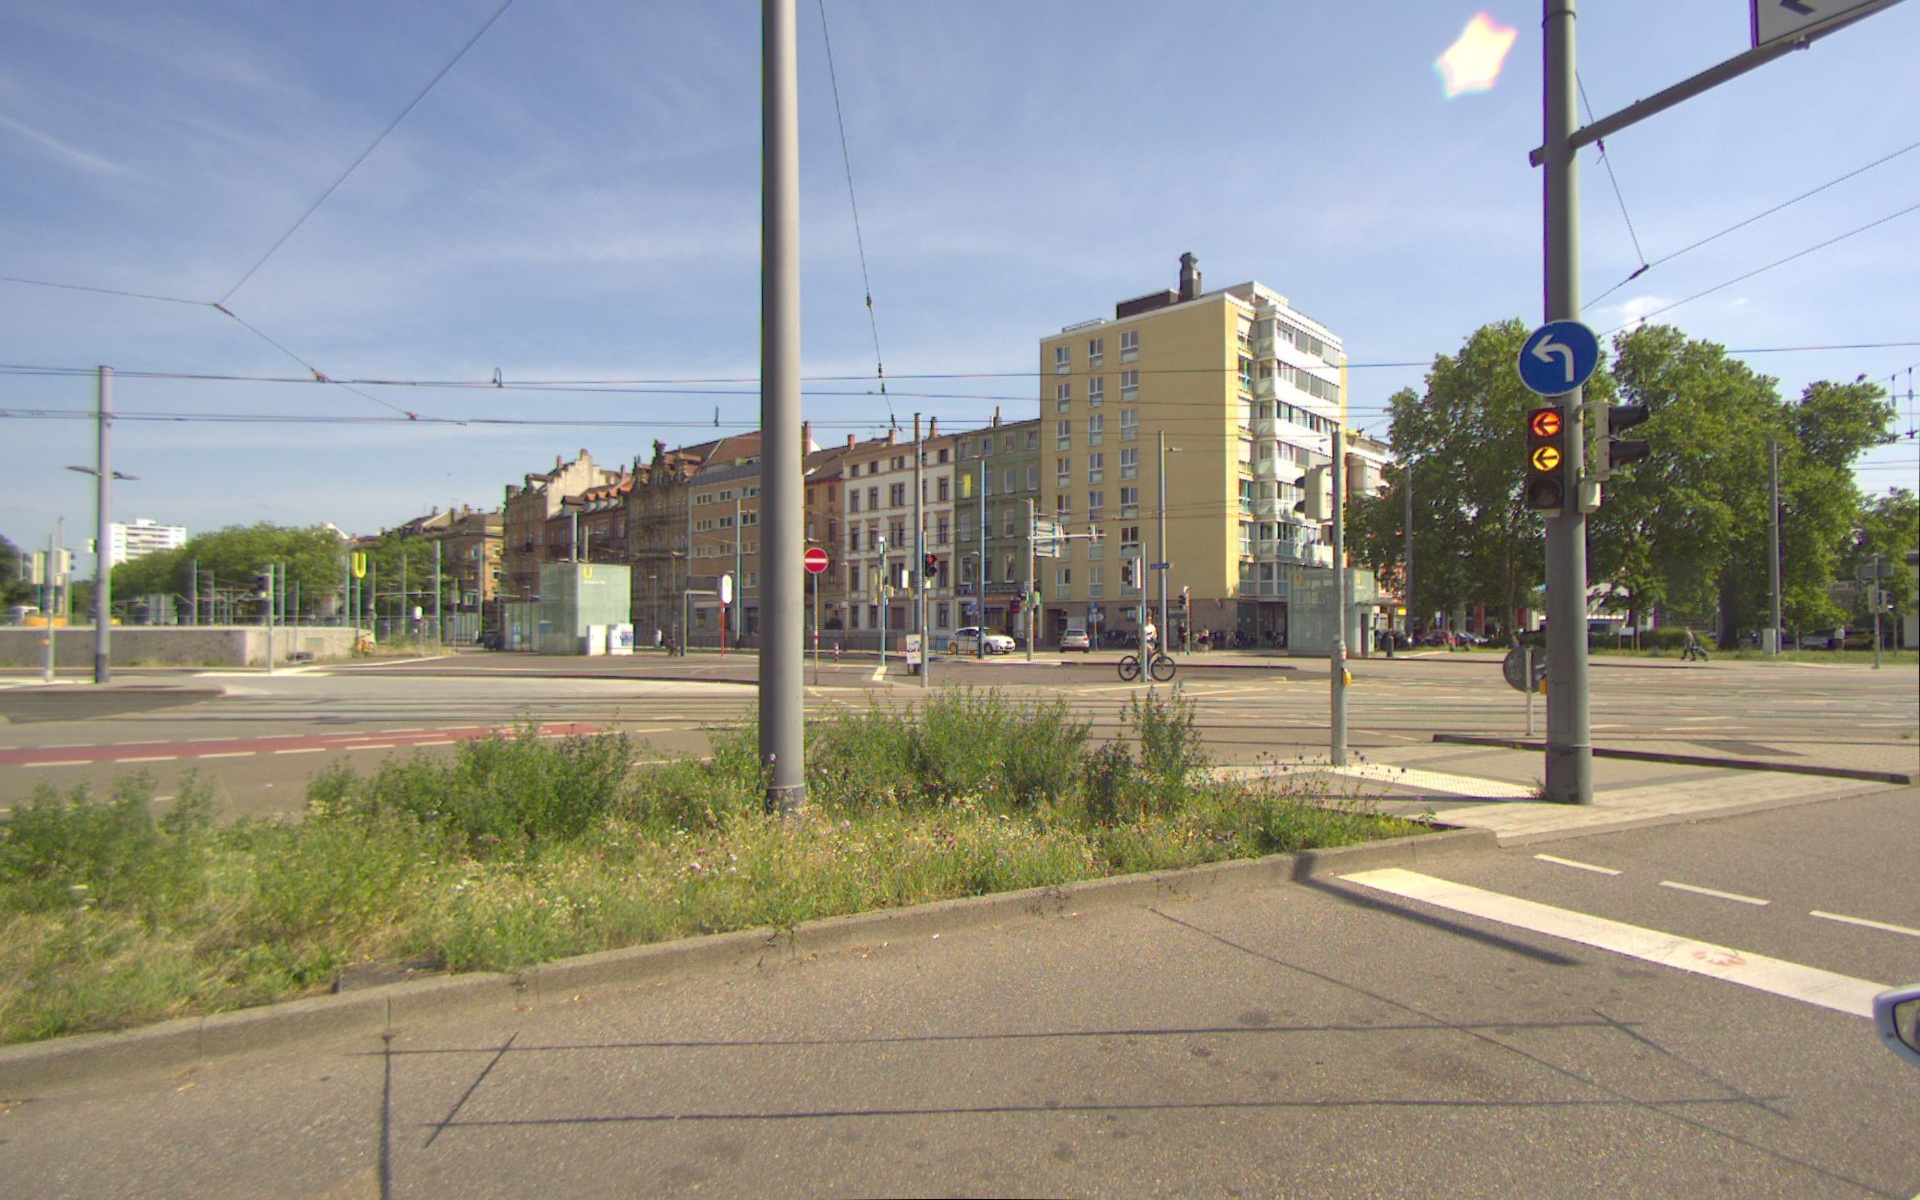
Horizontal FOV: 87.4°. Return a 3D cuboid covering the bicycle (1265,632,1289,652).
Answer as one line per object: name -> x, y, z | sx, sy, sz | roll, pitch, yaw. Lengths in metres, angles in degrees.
bicycle -> 20.453, 2.719, 64.854 | 1.740, 1.235, 0.578 | 0, -1, -37

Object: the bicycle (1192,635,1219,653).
bicycle -> 15.863, 2.853, 64.978 | 0.578, 1.100, 1.740 | -3, 0, -34

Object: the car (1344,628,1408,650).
car -> 30.507, 2.831, 73.669 | 3.945, 1.459, 1.879 | 2, 0, 44

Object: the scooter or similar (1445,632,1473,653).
scooter or similar -> 27.083, 2.312, 54.524 | 0.509, 1.134, 1.358 | 0, -1, -19

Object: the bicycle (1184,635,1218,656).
bicycle -> 12.977, 2.437, 54.017 | 1.775, 1.145, 0.749 | 1, -2, -30

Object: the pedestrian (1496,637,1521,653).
pedestrian -> 32.290, 2.648, 59.105 | 1.159, 0.904, 0.818 | -1, -2, 41

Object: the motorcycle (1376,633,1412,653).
motorcycle -> 24.779, 2.453, 57.378 | 0.631, 1.076, 2.028 | 1, -2, -22

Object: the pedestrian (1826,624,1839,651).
pedestrian -> 52.528, 2.238, 60.471 | 0.455, 1.617, 0.393 | 2, 0, -6

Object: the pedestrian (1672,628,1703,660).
pedestrian -> 33.678, 2.048, 46.503 | 1.100, 1.422, 0.654 | 2, 0, 39

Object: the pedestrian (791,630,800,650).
pedestrian -> -13.692, 3.308, 83.700 | 0.518, 1.687, 0.551 | -2, -2, 43

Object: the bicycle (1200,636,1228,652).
bicycle -> 16.490, 2.861, 65.203 | 0.579, 1.056, 1.737 | 0, -2, -40

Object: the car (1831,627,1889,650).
car -> 71.642, 3.093, 79.956 | 3.946, 1.706, 1.988 | 2, 0, -25

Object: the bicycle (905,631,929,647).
bicycle -> -3.043, 2.749, 71.241 | 0.589, 1.109, 1.738 | 0, -2, 43

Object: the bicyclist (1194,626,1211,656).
bicyclist -> 13.046, 2.228, 54.045 | 0.605, 1.593, 0.728 | 1, -3, -29

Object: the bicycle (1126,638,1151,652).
bicycle -> 12.222, 3.046, 68.707 | 0.579, 0.928, 1.737 | 0, -2, -39

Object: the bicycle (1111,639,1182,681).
bicycle -> 5.035, 1.639, 27.270 | 0.745, 1.098, 1.828 | 2, -4, -40

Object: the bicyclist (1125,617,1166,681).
bicyclist -> 5.037, 1.324, 27.262 | 0.745, 1.706, 0.768 | 2, -4, -40

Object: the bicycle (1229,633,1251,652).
bicycle -> 18.348, 2.781, 65.762 | 0.534, 1.201, 1.878 | -1, -2, 45

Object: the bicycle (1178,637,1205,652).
bicycle -> 15.299, 2.939, 66.345 | 0.579, 0.978, 1.736 | 0, -2, -41

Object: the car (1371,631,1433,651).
car -> 33.757, 3.118, 76.774 | 3.945, 1.287, 1.733 | 1, 0, 44

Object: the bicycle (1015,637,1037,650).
bicycle -> 4.985, 3.290, 76.303 | 1.755, 0.977, 0.412 | -2, 0, 43

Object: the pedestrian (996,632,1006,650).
pedestrian -> 3.193, 3.173, 78.289 | 0.637, 1.392, 0.524 | -1, -2, 43

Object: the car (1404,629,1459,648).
car -> 38.894, 3.161, 82.877 | 3.684, 1.358, 1.733 | 2, 0, 44

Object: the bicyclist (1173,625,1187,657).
bicyclist -> 12.102, 2.255, 55.273 | 0.575, 1.757, 0.615 | -2, -3, 37

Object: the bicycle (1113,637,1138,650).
bicycle -> 11.530, 3.031, 70.037 | 1.733, 0.928, 0.580 | -2, -2, 44

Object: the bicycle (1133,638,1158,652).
bicycle -> 12.732, 3.063, 68.939 | 0.579, 0.928, 1.737 | 0, -2, -39

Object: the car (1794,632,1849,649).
car -> 70.167, 3.279, 81.815 | 3.946, 1.261, 1.988 | 2, 0, -25

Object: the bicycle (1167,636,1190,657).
bicycle -> 12.080, 2.569, 55.441 | 0.575, 1.145, 1.790 | -2, -3, 37

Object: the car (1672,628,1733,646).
car -> 66.622, 3.307, 90.185 | 1.976, 1.390, 3.968 | 2, 0, -30

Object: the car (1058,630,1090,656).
car -> 7.002, 2.658, 62.072 | 1.777, 1.458, 4.004 | 1, -4, 4

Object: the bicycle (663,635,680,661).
bicycle -> -13.183, 2.172, 45.899 | 0.408, 1.085, 1.651 | 0, 0, -28

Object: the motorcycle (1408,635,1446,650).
motorcycle -> 28.314, 2.582, 60.952 | 1.997, 0.853, 0.641 | 0, -1, 4

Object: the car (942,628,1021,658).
car -> 1.117, 2.271, 53.668 | 4.067, 1.417, 1.749 | -1, 1, 43
